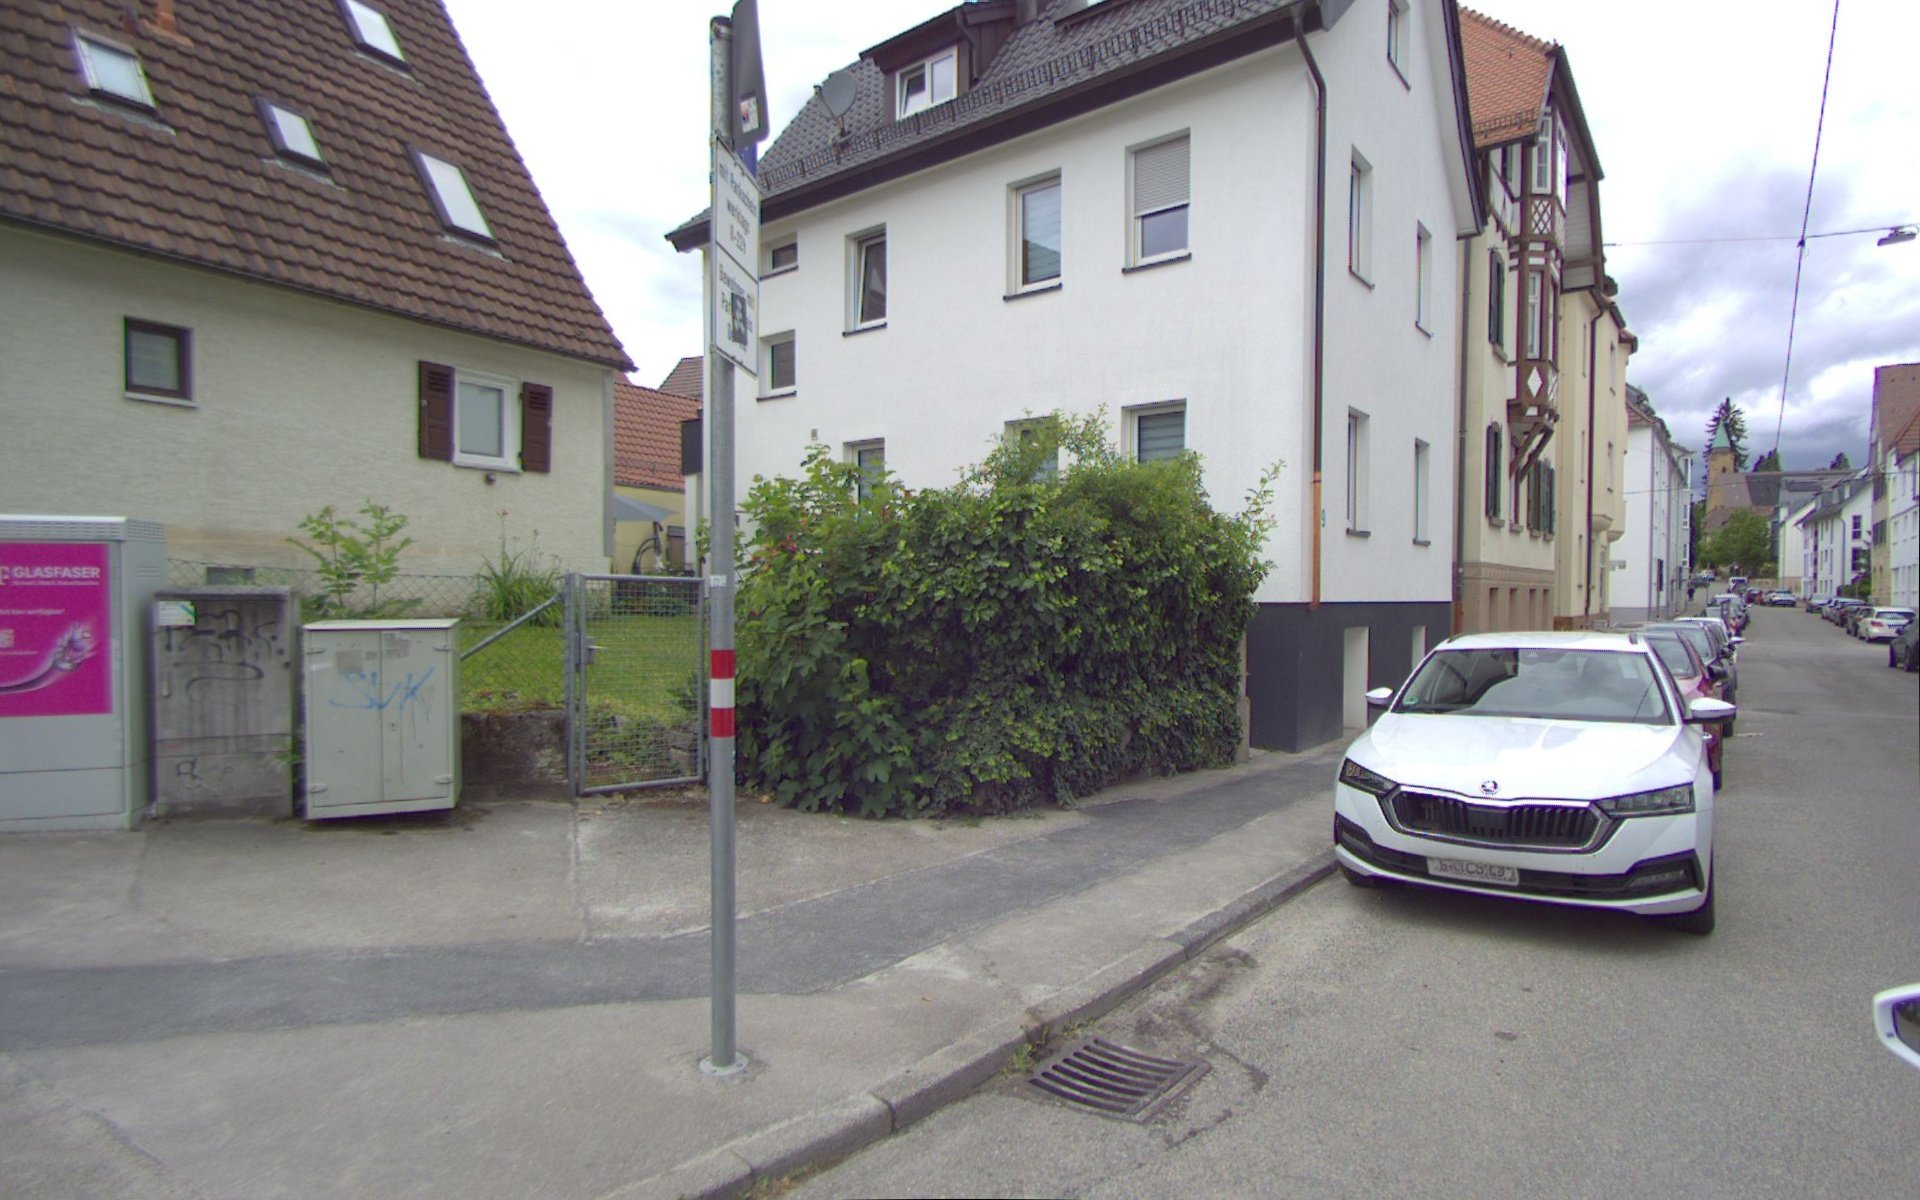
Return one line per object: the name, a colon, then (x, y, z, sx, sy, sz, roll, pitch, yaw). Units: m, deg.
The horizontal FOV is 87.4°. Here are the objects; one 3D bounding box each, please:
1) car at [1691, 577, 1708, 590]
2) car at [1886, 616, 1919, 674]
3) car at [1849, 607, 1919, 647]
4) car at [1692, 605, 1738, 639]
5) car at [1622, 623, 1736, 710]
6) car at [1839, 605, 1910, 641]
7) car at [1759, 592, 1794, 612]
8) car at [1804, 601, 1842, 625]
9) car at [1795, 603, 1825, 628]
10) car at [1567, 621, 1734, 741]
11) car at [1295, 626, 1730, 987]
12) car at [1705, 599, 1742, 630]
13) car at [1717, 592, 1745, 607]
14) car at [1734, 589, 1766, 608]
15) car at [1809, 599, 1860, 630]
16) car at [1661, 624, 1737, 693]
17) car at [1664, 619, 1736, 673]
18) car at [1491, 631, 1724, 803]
car: (116.612, -2.672, 158.339, 1.796, 1.950, 3.740, 3, 3, 32)
car: (28.224, 1.305, 29.031, 1.690, 1.570, 3.787, 3, 2, 37)
car: (40.995, 1.150, 44.562, 1.742, 1.546, 3.890, 2, 2, 34)
car: (36.883, 1.052, 49.063, 1.653, 1.484, 3.984, 3, 2, 37)
car: (13.535, 1.164, 18.877, 1.586, 1.443, 3.839, -1, -1, 37)
car: (44.172, 1.073, 48.597, 1.928, 1.595, 3.988, 2, 1, 34)
car: (74.572, 0.164, 91.829, 1.733, 1.689, 3.992, 3, 3, 29)
car: (52.768, 0.796, 61.471, 1.389, 1.323, 2.892, 2, 2, 34)
car: (64.210, 1.171, 75.928, 1.559, 1.782, 3.197, 2, -1, 38)
car: (10.302, 1.092, 14.865, 1.747, 1.515, 3.965, -2, -3, 38)
car: (3.708, 0.920, 6.420, 1.770, 1.480, 4.281, -2, -2, 36)
car: (42.248, 0.772, 55.594, 1.520, 1.536, 3.365, 3, 2, 37)
car: (88.888, -0.101, 115.835, 1.861, 1.626, 3.708, 3, 2, 29)
car: (79.878, -0.172, 101.614, 1.861, 1.668, 3.966, 3, 3, 29)
car: (49.644, 0.795, 57.068, 1.704, 1.595, 3.821, 2, 2, 34)
car: (16.692, 1.249, 22.650, 1.267, 1.377, 3.789, -1, -1, 37)
car: (21.213, 1.269, 28.755, 1.567, 1.441, 3.387, -1, -2, 38)
car: (7.048, 1.067, 10.738, 1.746, 1.436, 4.155, -2, -2, 37)
